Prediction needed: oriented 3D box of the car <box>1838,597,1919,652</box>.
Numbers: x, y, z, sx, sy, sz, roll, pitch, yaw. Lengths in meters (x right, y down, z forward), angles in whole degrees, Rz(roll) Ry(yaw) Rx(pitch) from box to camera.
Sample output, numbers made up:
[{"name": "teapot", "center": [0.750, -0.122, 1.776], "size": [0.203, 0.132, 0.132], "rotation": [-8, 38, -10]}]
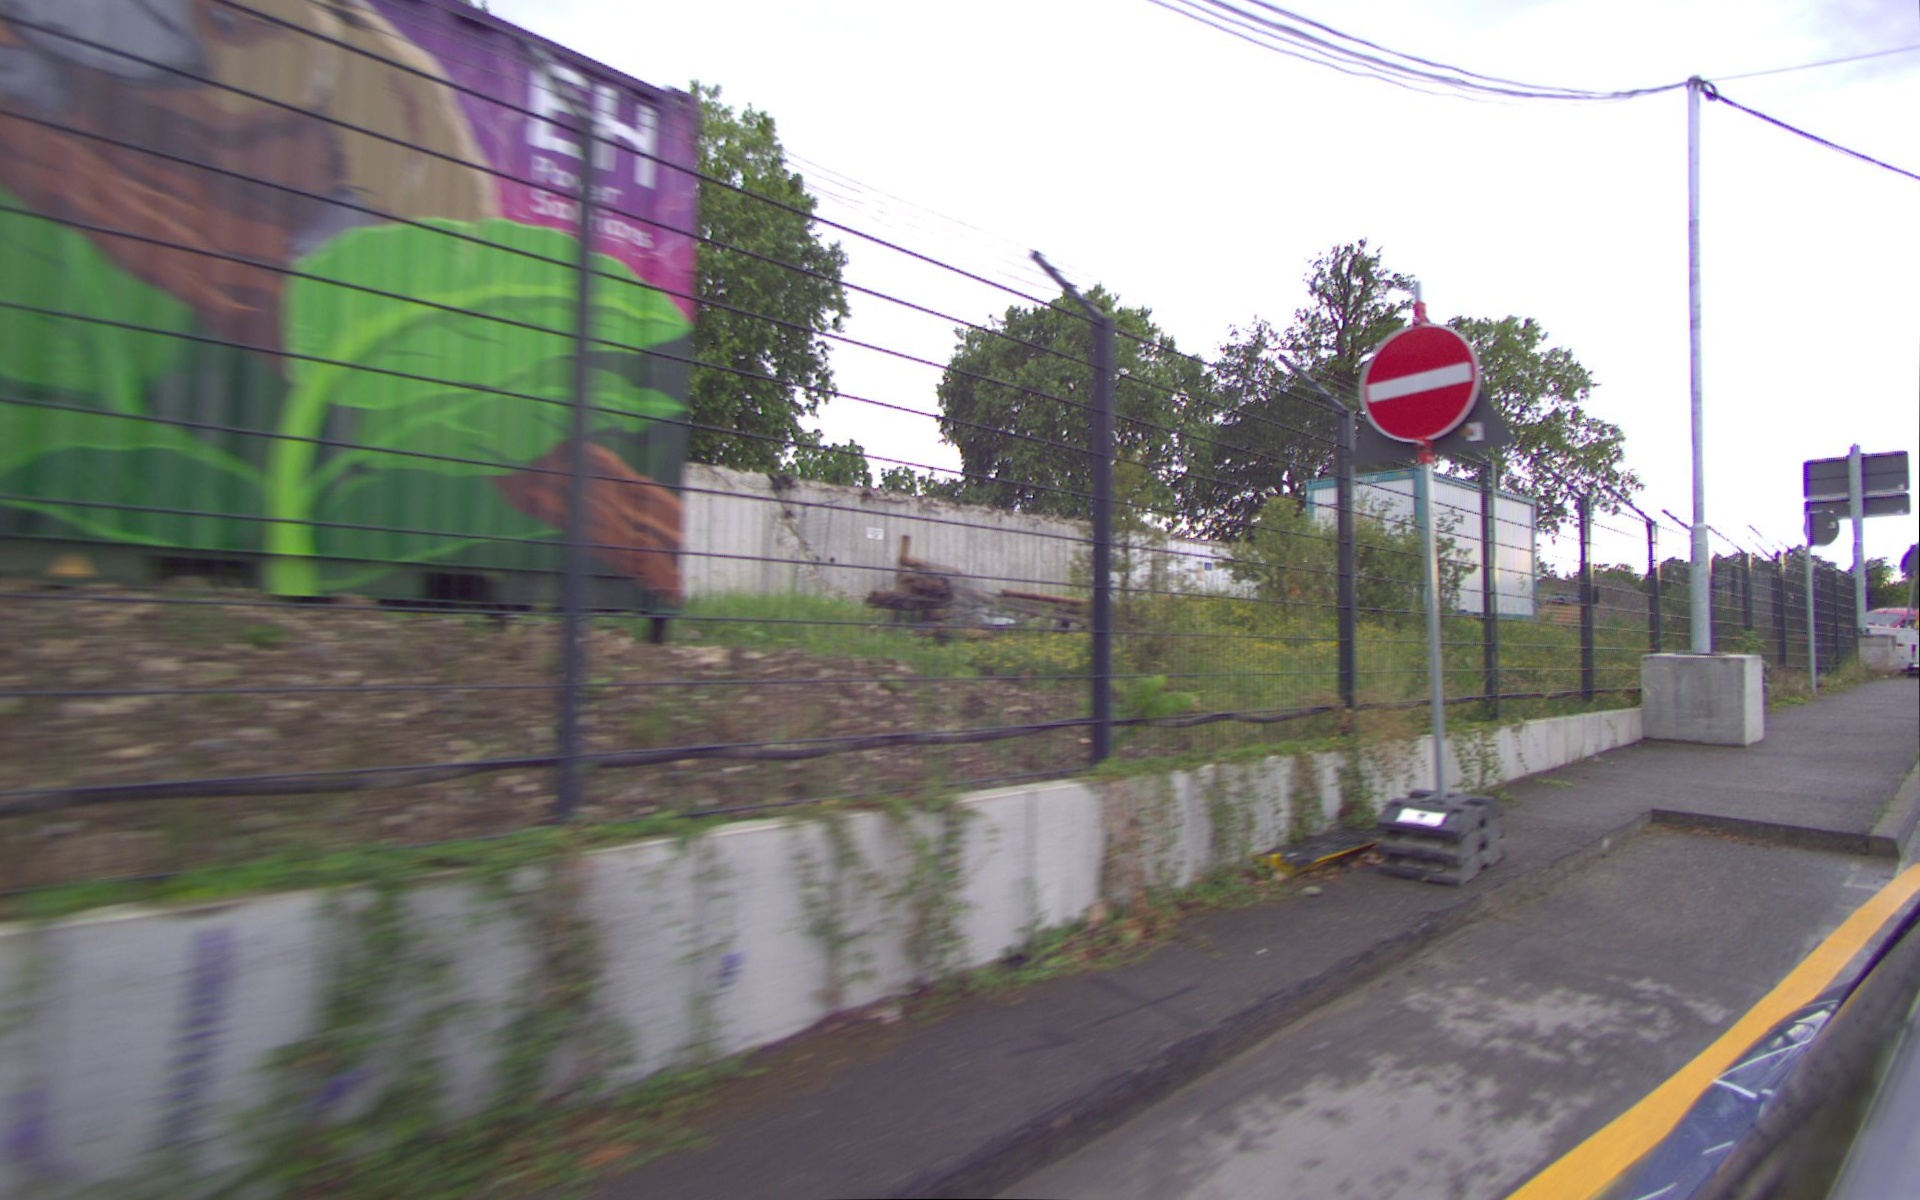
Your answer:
[{"name": "car", "center": [33.098, 0.842, 34.916], "size": [4.318, 1.817, 1.828], "rotation": [0, -1, -8]}]
